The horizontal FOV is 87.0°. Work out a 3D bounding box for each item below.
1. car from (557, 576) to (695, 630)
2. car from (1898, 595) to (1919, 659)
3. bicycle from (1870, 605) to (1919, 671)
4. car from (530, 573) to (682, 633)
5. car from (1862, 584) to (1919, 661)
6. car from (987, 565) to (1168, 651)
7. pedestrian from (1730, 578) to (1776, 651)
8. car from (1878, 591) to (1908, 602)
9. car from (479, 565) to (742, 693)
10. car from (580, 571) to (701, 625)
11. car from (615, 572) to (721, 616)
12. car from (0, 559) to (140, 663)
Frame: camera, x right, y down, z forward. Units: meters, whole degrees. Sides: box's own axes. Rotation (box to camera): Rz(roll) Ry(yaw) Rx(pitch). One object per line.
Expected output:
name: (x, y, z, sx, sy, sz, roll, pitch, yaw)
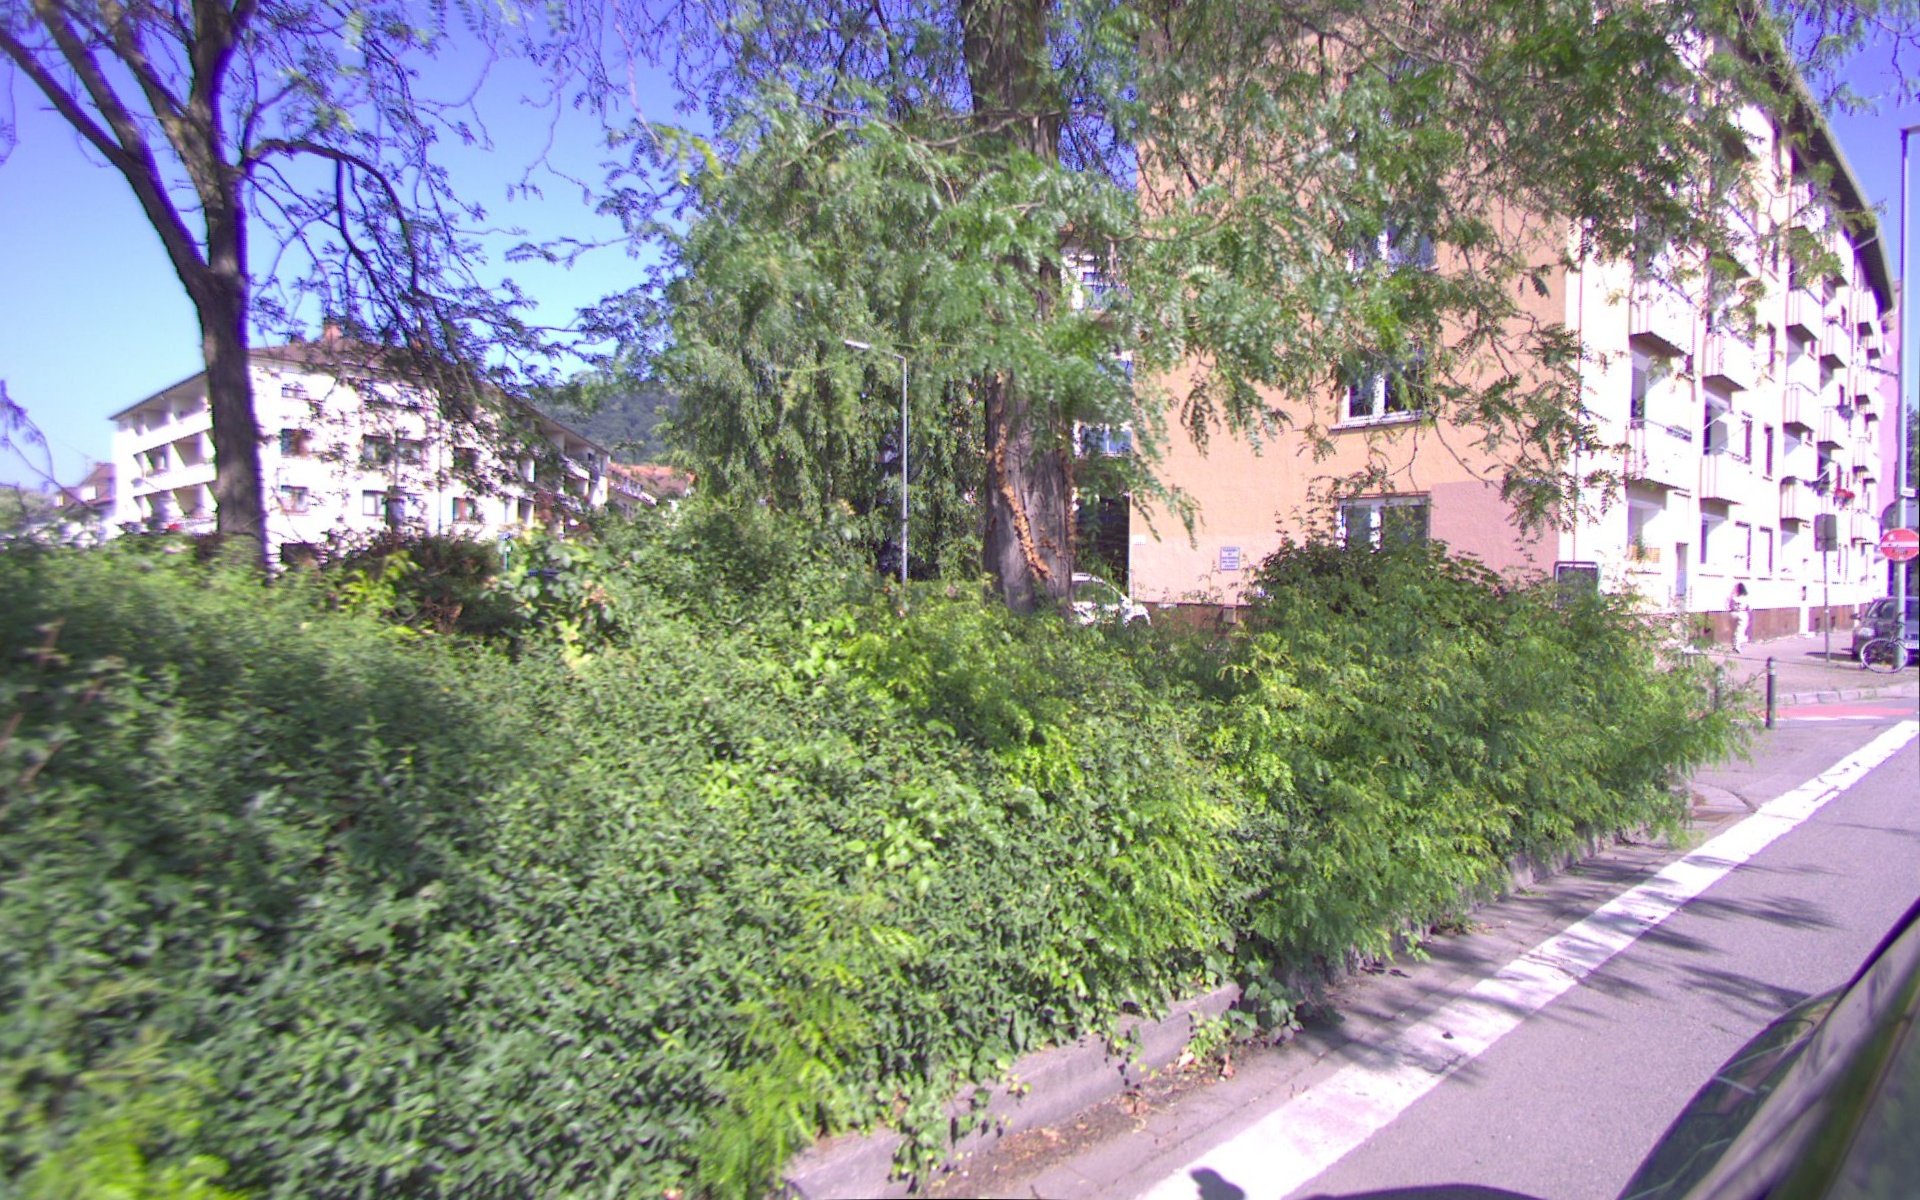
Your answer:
car: (-10.428, 0.048, 31.582, 3.964, 1.552, 1.915, 2, 1, 29)
car: (24.396, 0.664, 24.877, 4.185, 1.480, 1.712, 0, 2, -44)
bicycle: (17.491, 0.686, 18.897, 0.702, 1.138, 1.718, 2, 1, 43)
car: (-10.065, 0.044, 28.749, 3.964, 1.532, 1.915, 2, 1, 29)
car: (20.821, 0.486, 21.898, 1.704, 1.532, 4.026, 4, 2, 44)
car: (2.539, 0.099, 21.498, 3.716, 1.660, 1.661, -1, 2, -37)
pedestrian: (18.156, 0.309, 23.175, 0.809, 1.629, 0.656, 0, 1, -40)
car: (137.716, -0.521, 149.364, 1.848, 1.471, 4.174, 1, 1, 22)
car: (-5.066, 0.305, 14.428, 3.955, 1.567, 1.814, 2, 1, 41)
car: (-11.047, -0.104, 34.935, 3.967, 1.749, 1.849, 2, 1, 31)
car: (-11.902, -0.273, 41.265, 3.962, 1.660, 1.891, 2, 1, 28)
car: (-16.790, 0.130, 17.872, 1.752, 1.694, 4.217, 0, 1, -10)
